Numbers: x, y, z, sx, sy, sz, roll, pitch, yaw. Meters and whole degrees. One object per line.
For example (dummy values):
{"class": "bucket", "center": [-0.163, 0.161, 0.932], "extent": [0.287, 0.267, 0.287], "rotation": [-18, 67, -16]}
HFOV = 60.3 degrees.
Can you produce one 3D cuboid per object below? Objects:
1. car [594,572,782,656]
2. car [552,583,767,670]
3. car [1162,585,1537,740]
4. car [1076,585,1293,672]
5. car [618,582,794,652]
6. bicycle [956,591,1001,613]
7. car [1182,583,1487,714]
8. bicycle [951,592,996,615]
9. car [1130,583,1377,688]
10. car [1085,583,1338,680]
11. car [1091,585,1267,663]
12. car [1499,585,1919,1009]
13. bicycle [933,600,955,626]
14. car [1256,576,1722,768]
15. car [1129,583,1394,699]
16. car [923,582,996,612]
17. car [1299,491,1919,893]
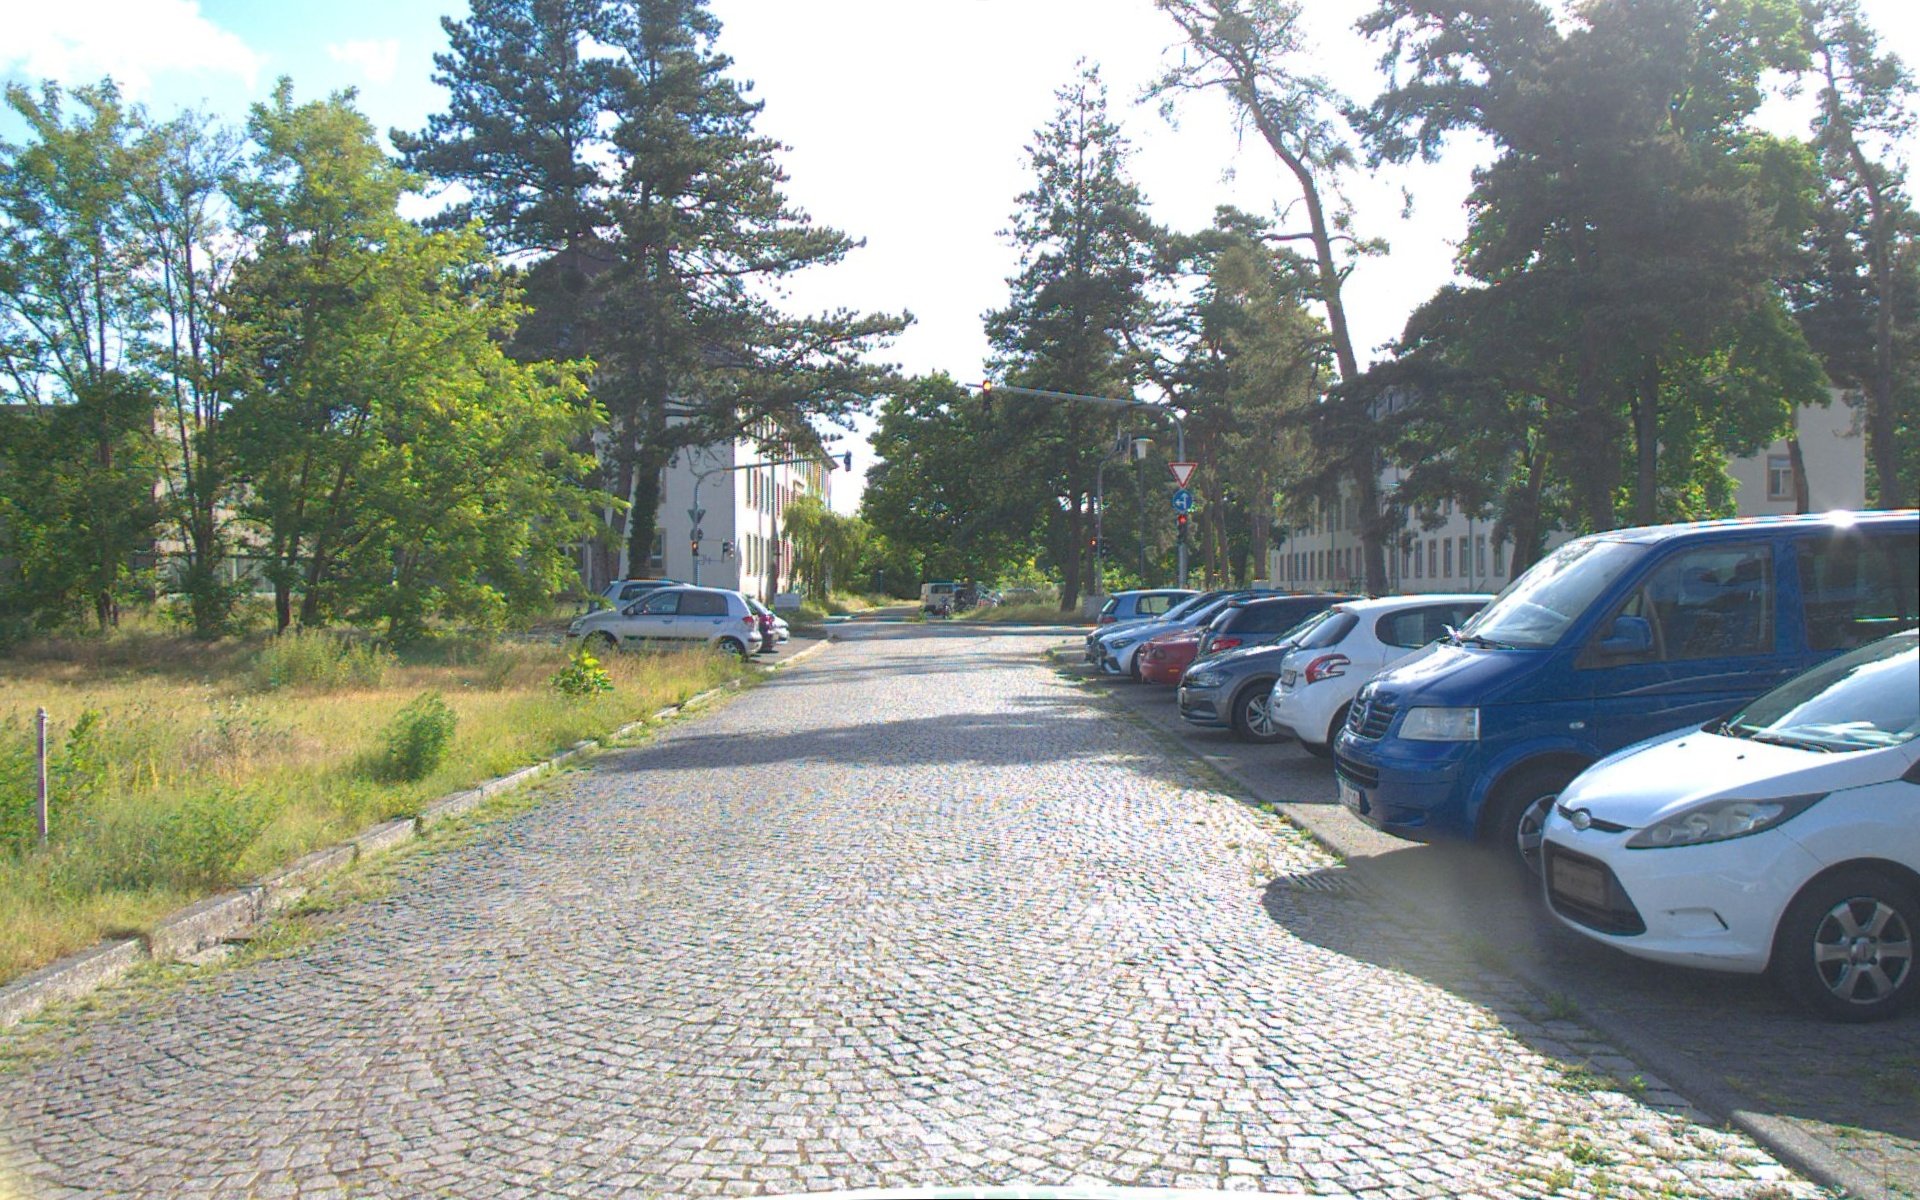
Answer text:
{"class": "car", "center": [-6.147, 0.302, 37.737], "extent": [3.907, 1.629, 2.000], "rotation": [3, 0, -1]}
{"class": "car", "center": [-5.801, 0.494, 32.353], "extent": [3.908, 1.628, 1.999], "rotation": [0, 0, -4]}
{"class": "car", "center": [4.089, 0.630, 17.719], "extent": [3.601, 1.492, 1.645], "rotation": [-1, 0, -2]}
{"class": "car", "center": [4.107, 0.505, 30.641], "extent": [3.758, 1.556, 1.645], "rotation": [0, 0, -2]}
{"class": "car", "center": [-6.109, 0.385, 40.139], "extent": [3.906, 1.478, 2.000], "rotation": [3, 0, -1]}
{"class": "bicycle", "center": [0.932, 0.104, 83.348], "extent": [2.134, 1.119, 0.805], "rotation": [0, 0, -11]}
{"class": "car", "center": [4.607, 0.570, 20.645], "extent": [3.408, 1.556, 1.645], "rotation": [0, 0, -2]}
{"class": "bicycle", "center": [0.677, 0.192, 82.222], "extent": [2.134, 1.119, 0.805], "rotation": [0, 0, -11]}
{"class": "car", "center": [4.505, 0.524, 25.693], "extent": [3.530, 1.556, 1.645], "rotation": [0, 0, -2]}
{"class": "car", "center": [4.194, 0.506, 27.870], "extent": [3.955, 1.556, 1.644], "rotation": [0, 0, -5]}
{"class": "car", "center": [4.370, 0.457, 33.285], "extent": [3.276, 1.508, 1.645], "rotation": [0, 0, -2]}
{"class": "car", "center": [4.378, 0.699, 6.979], "extent": [3.645, 1.514, 1.644], "rotation": [-1, 0, -3]}
{"class": "bicycle", "center": [-0.749, 0.599, 78.740], "extent": [0.789, 1.190, 2.177], "rotation": [-2, 1, -6]}
{"class": "car", "center": [4.633, 0.604, 14.839], "extent": [3.619, 1.491, 1.645], "rotation": [-2, 0, 0]}
{"class": "car", "center": [4.198, 0.546, 23.331], "extent": [3.408, 1.556, 1.645], "rotation": [0, 0, -2]}
{"class": "car", "center": [-0.043, -0.202, 99.682], "extent": [4.390, 1.758, 2.000], "rotation": [0, 0, -2]}
{"class": "car", "center": [4.508, 0.447, 9.639], "extent": [4.584, 2.049, 2.082], "rotation": [0, 0, -4]}
